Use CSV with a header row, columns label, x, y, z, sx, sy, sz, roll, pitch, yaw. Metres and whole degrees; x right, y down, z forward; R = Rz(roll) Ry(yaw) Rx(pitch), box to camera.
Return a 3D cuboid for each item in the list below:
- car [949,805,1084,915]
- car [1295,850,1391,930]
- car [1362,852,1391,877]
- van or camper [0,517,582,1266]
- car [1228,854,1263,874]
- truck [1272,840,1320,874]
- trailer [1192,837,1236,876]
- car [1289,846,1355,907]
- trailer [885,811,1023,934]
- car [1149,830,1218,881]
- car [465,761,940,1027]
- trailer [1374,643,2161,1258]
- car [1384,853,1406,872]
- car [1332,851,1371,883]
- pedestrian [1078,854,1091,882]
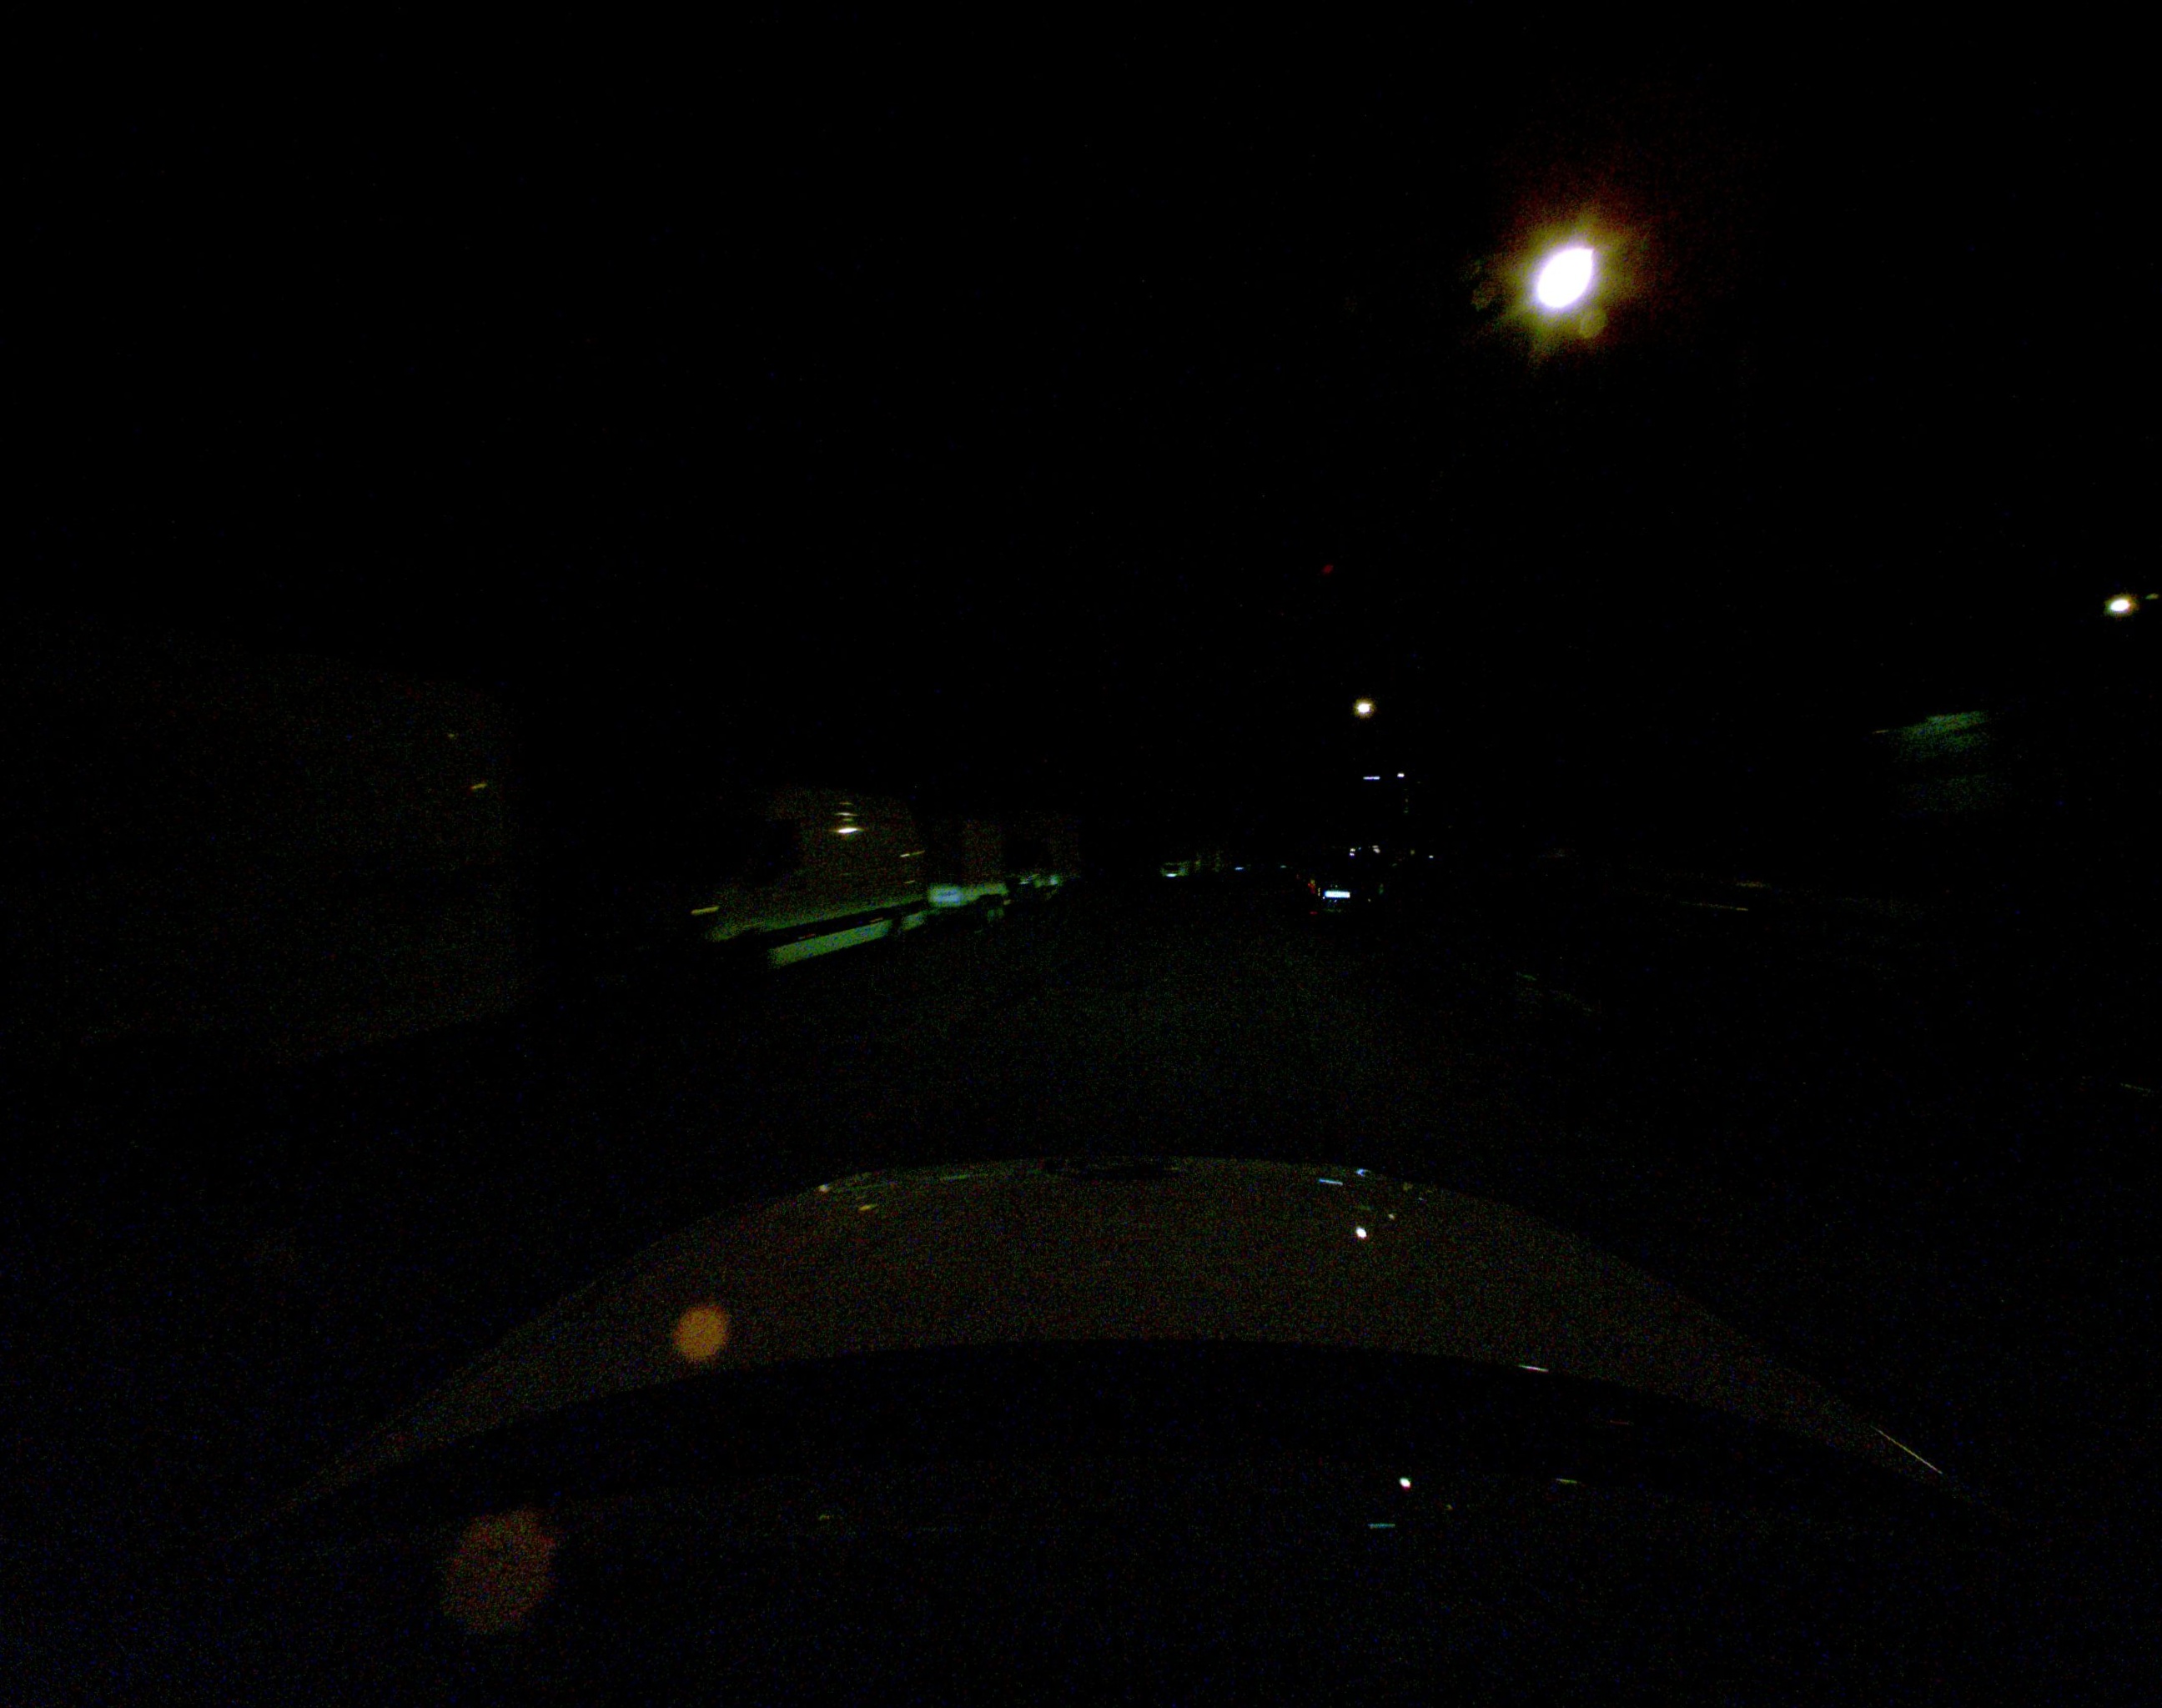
label,x,y,z,sx,sy,sz,roll,pitch,yaw
car,-1.753,0.144,25.660,2.504,2.927,7.220,-2,0,9
car,6.107,0.772,19.369,1.709,1.661,4.012,1,0,11
car,23.011,0.805,63.330,1.705,1.821,4.023,1,0,26
van or camper,-5.864,0.188,2.818,2.502,3.094,7.470,-2,0,12
car,14.478,0.826,71.525,1.975,1.699,4.231,0,0,25
truck,22.901,0.203,86.546,1.974,3.403,9.037,1,2,34
trailer,10.013,0.142,60.981,1.975,2.813,4.730,0,1,25
car,7.831,0.684,26.763,1.709,1.821,4.012,1,0,11
trailer,-2.801,0.376,18.822,1.981,2.527,3.579,-2,0,11
car,7.034,0.052,54.881,2.496,3.171,7.178,-2,0,24
car,-4.463,0.401,11.672,2.504,2.606,7.110,-2,0,9
trailer,4.041,0.343,4.757,1.563,2.160,5.192,-2,0,-17
car,31.427,0.804,81.402,1.705,1.821,4.023,1,0,26
car,16.319,0.748,49.018,1.705,1.821,4.023,1,0,26
pedestrian,0.209,0.864,49.772,0.674,1.652,0.652,-1,1,-8
